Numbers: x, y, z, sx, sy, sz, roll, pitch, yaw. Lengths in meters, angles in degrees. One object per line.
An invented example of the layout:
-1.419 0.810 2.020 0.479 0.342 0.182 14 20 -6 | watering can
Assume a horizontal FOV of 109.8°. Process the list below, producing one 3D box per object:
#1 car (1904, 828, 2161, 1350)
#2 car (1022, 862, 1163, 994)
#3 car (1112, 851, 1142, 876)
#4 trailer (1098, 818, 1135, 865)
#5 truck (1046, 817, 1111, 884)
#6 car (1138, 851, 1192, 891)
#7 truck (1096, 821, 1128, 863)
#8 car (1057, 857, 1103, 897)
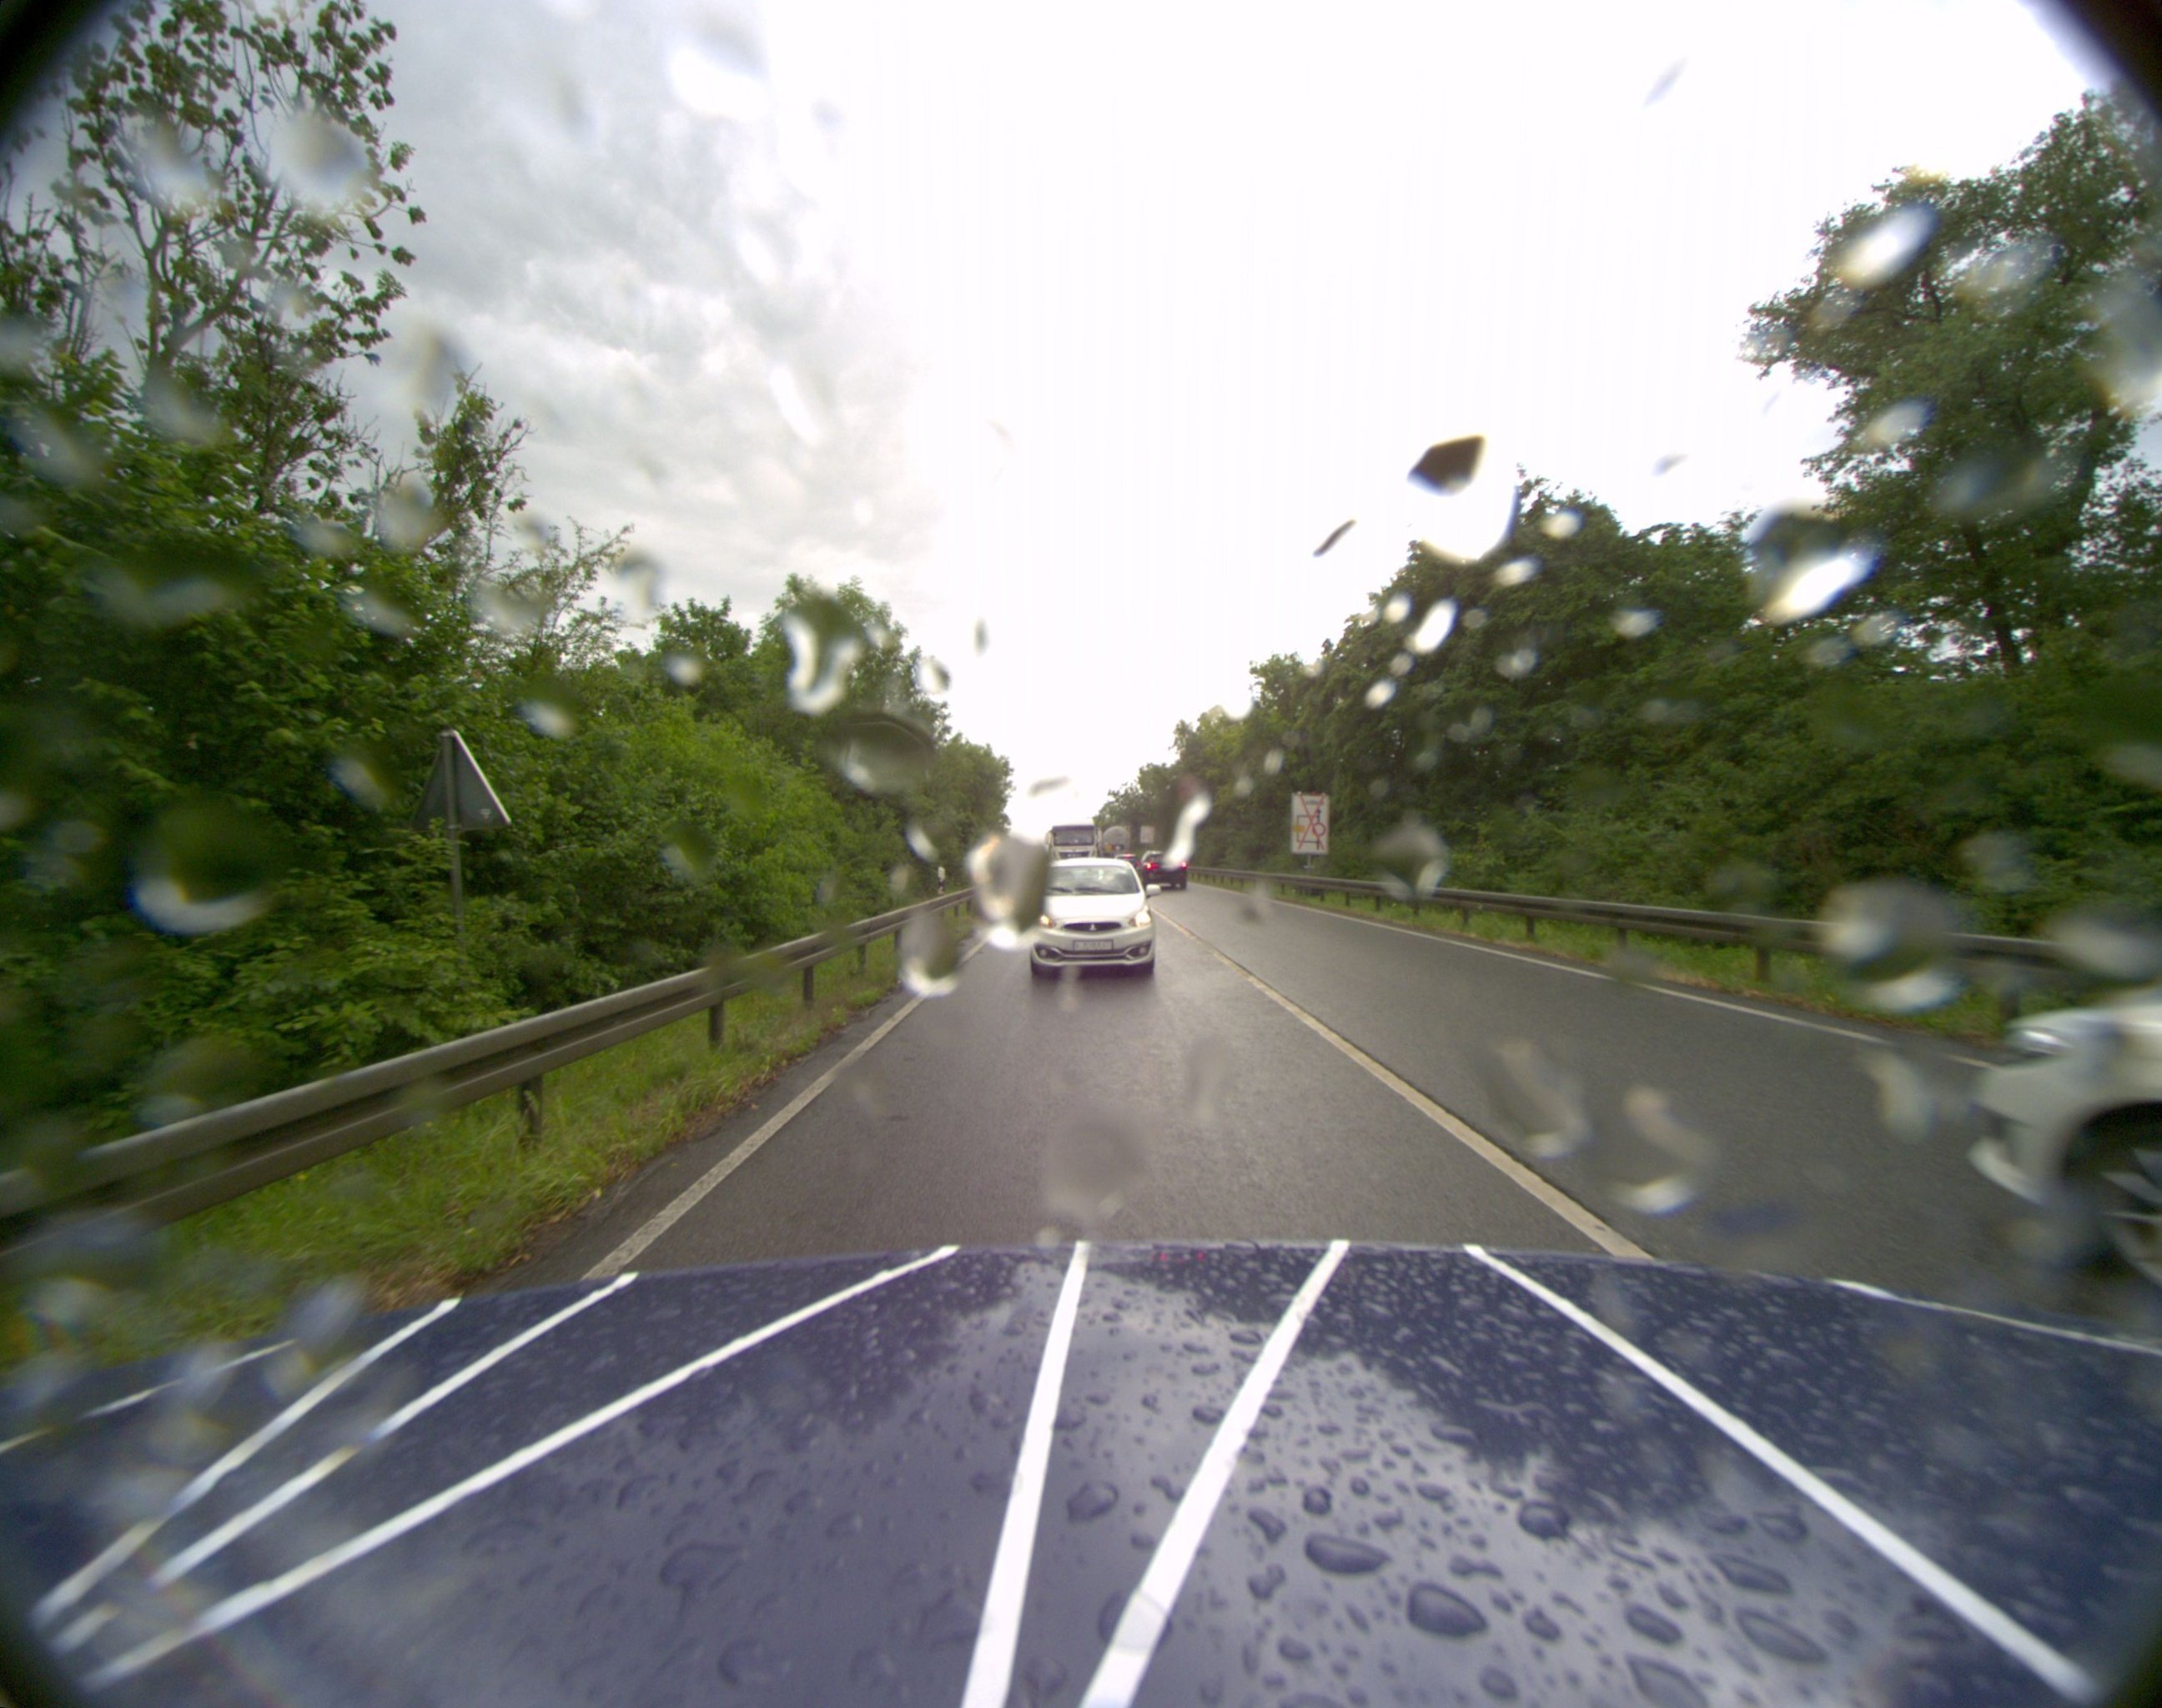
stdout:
4.029 0.707 0.741 1.695 1.547 4.442 -2 1 1 | car
0.121 0.894 11.090 1.610 1.435 4.208 -2 0 -1 | car
3.099 0.615 51.882 1.712 1.507 3.911 -2 1 -1 | car
3.059 -1.069 67.152 2.543 3.803 7.789 -2 1 -2 | trailer
-0.342 -0.249 44.317 3.137 3.364 9.279 -2 1 -3 | truck
3.679 0.704 33.950 1.852 1.634 4.298 -2 0 0 | car
2.875 -1.132 72.322 2.543 3.803 5.243 -2 1 -2 | truck
0.037 0.865 30.290 1.640 1.413 4.492 -2 0 2 | car
